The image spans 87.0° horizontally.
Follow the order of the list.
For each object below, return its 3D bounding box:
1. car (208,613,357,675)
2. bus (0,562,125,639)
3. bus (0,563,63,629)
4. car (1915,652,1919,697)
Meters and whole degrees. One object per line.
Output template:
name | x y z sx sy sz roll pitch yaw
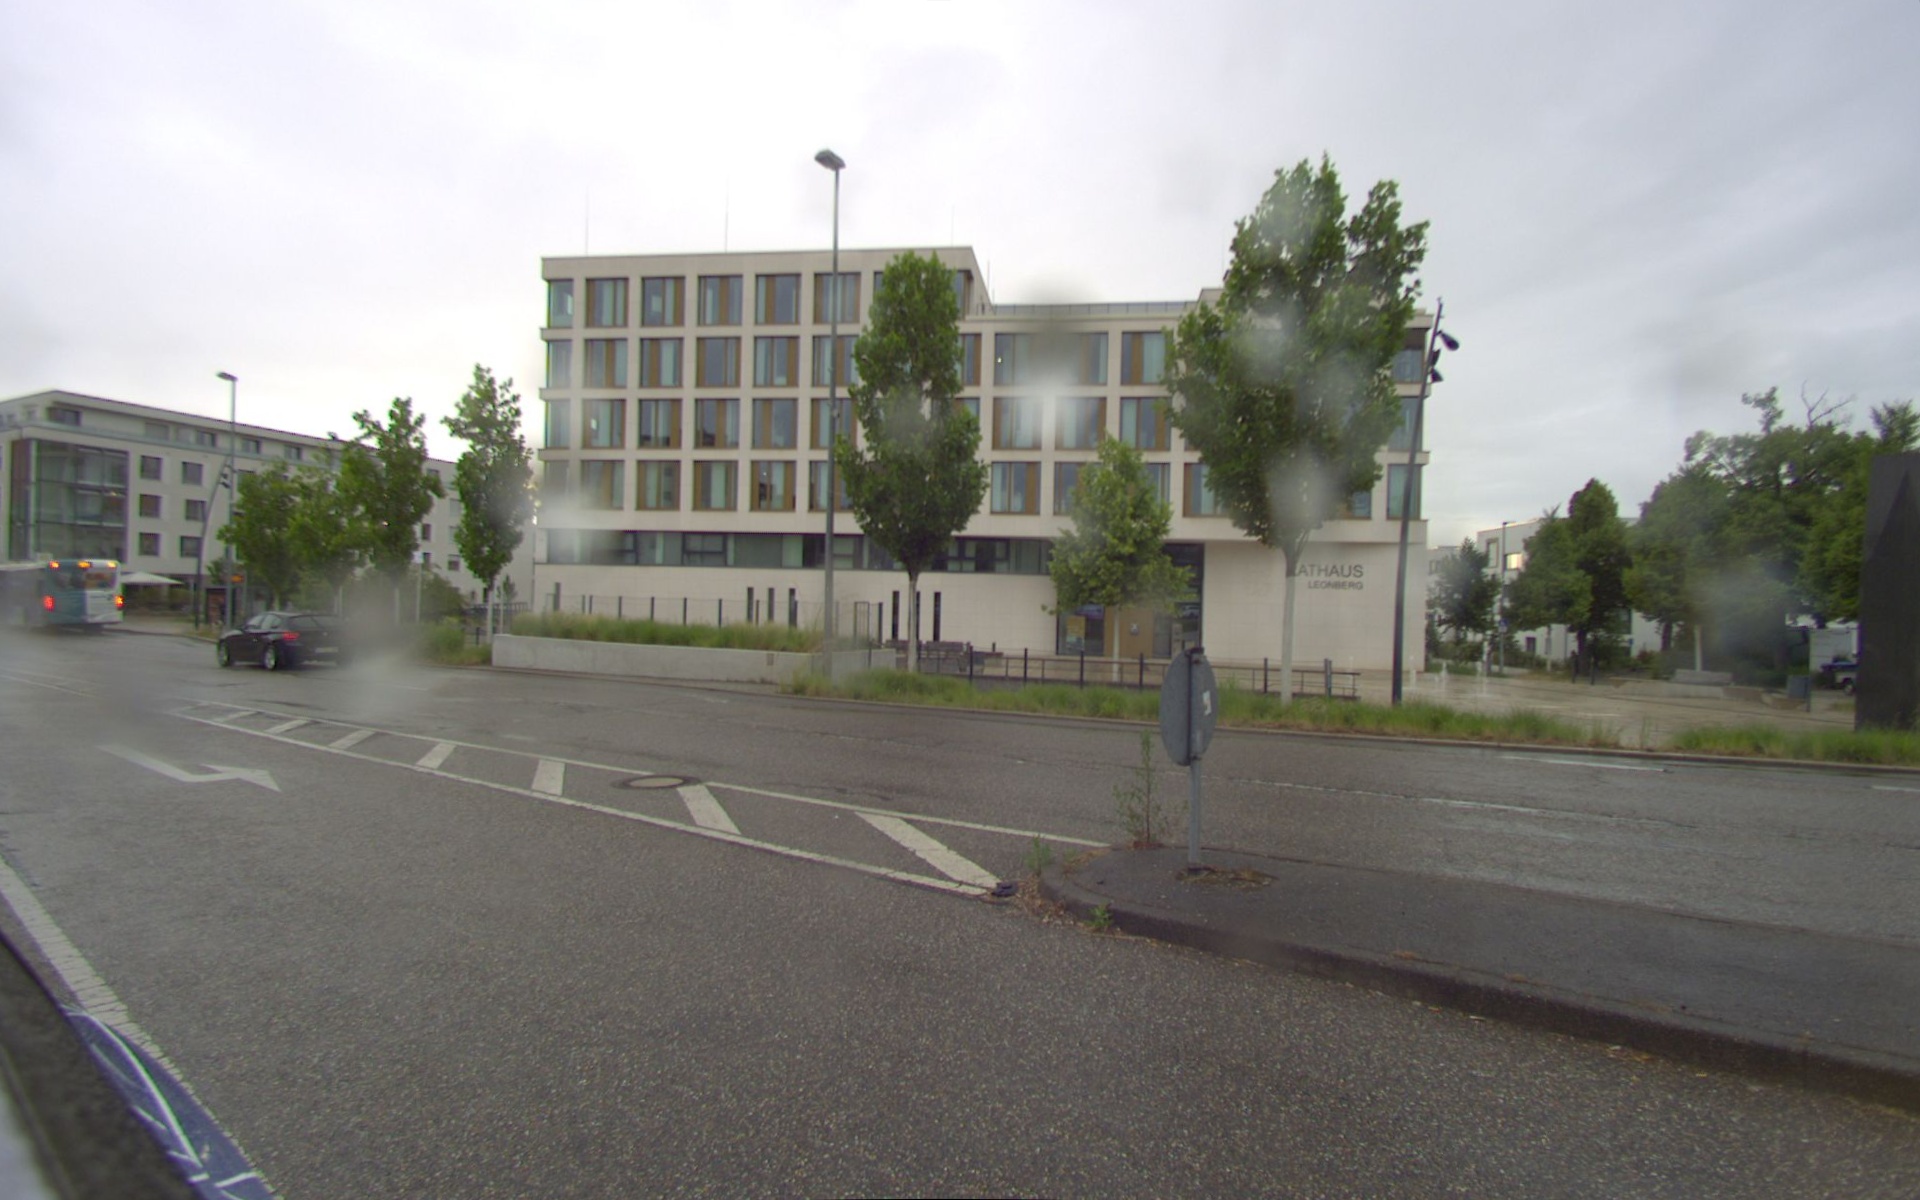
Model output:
car | -16.856 1.045 25.124 4.273 1.401 1.769 -1 -1 37
bus | -40.771 0.078 45.531 9.350 3.138 2.751 -1 -2 37
bus | -48.280 -0.136 50.846 8.863 3.138 2.768 0 -2 35
car | 33.932 2.497 33.115 1.978 1.551 3.987 1 -3 10
